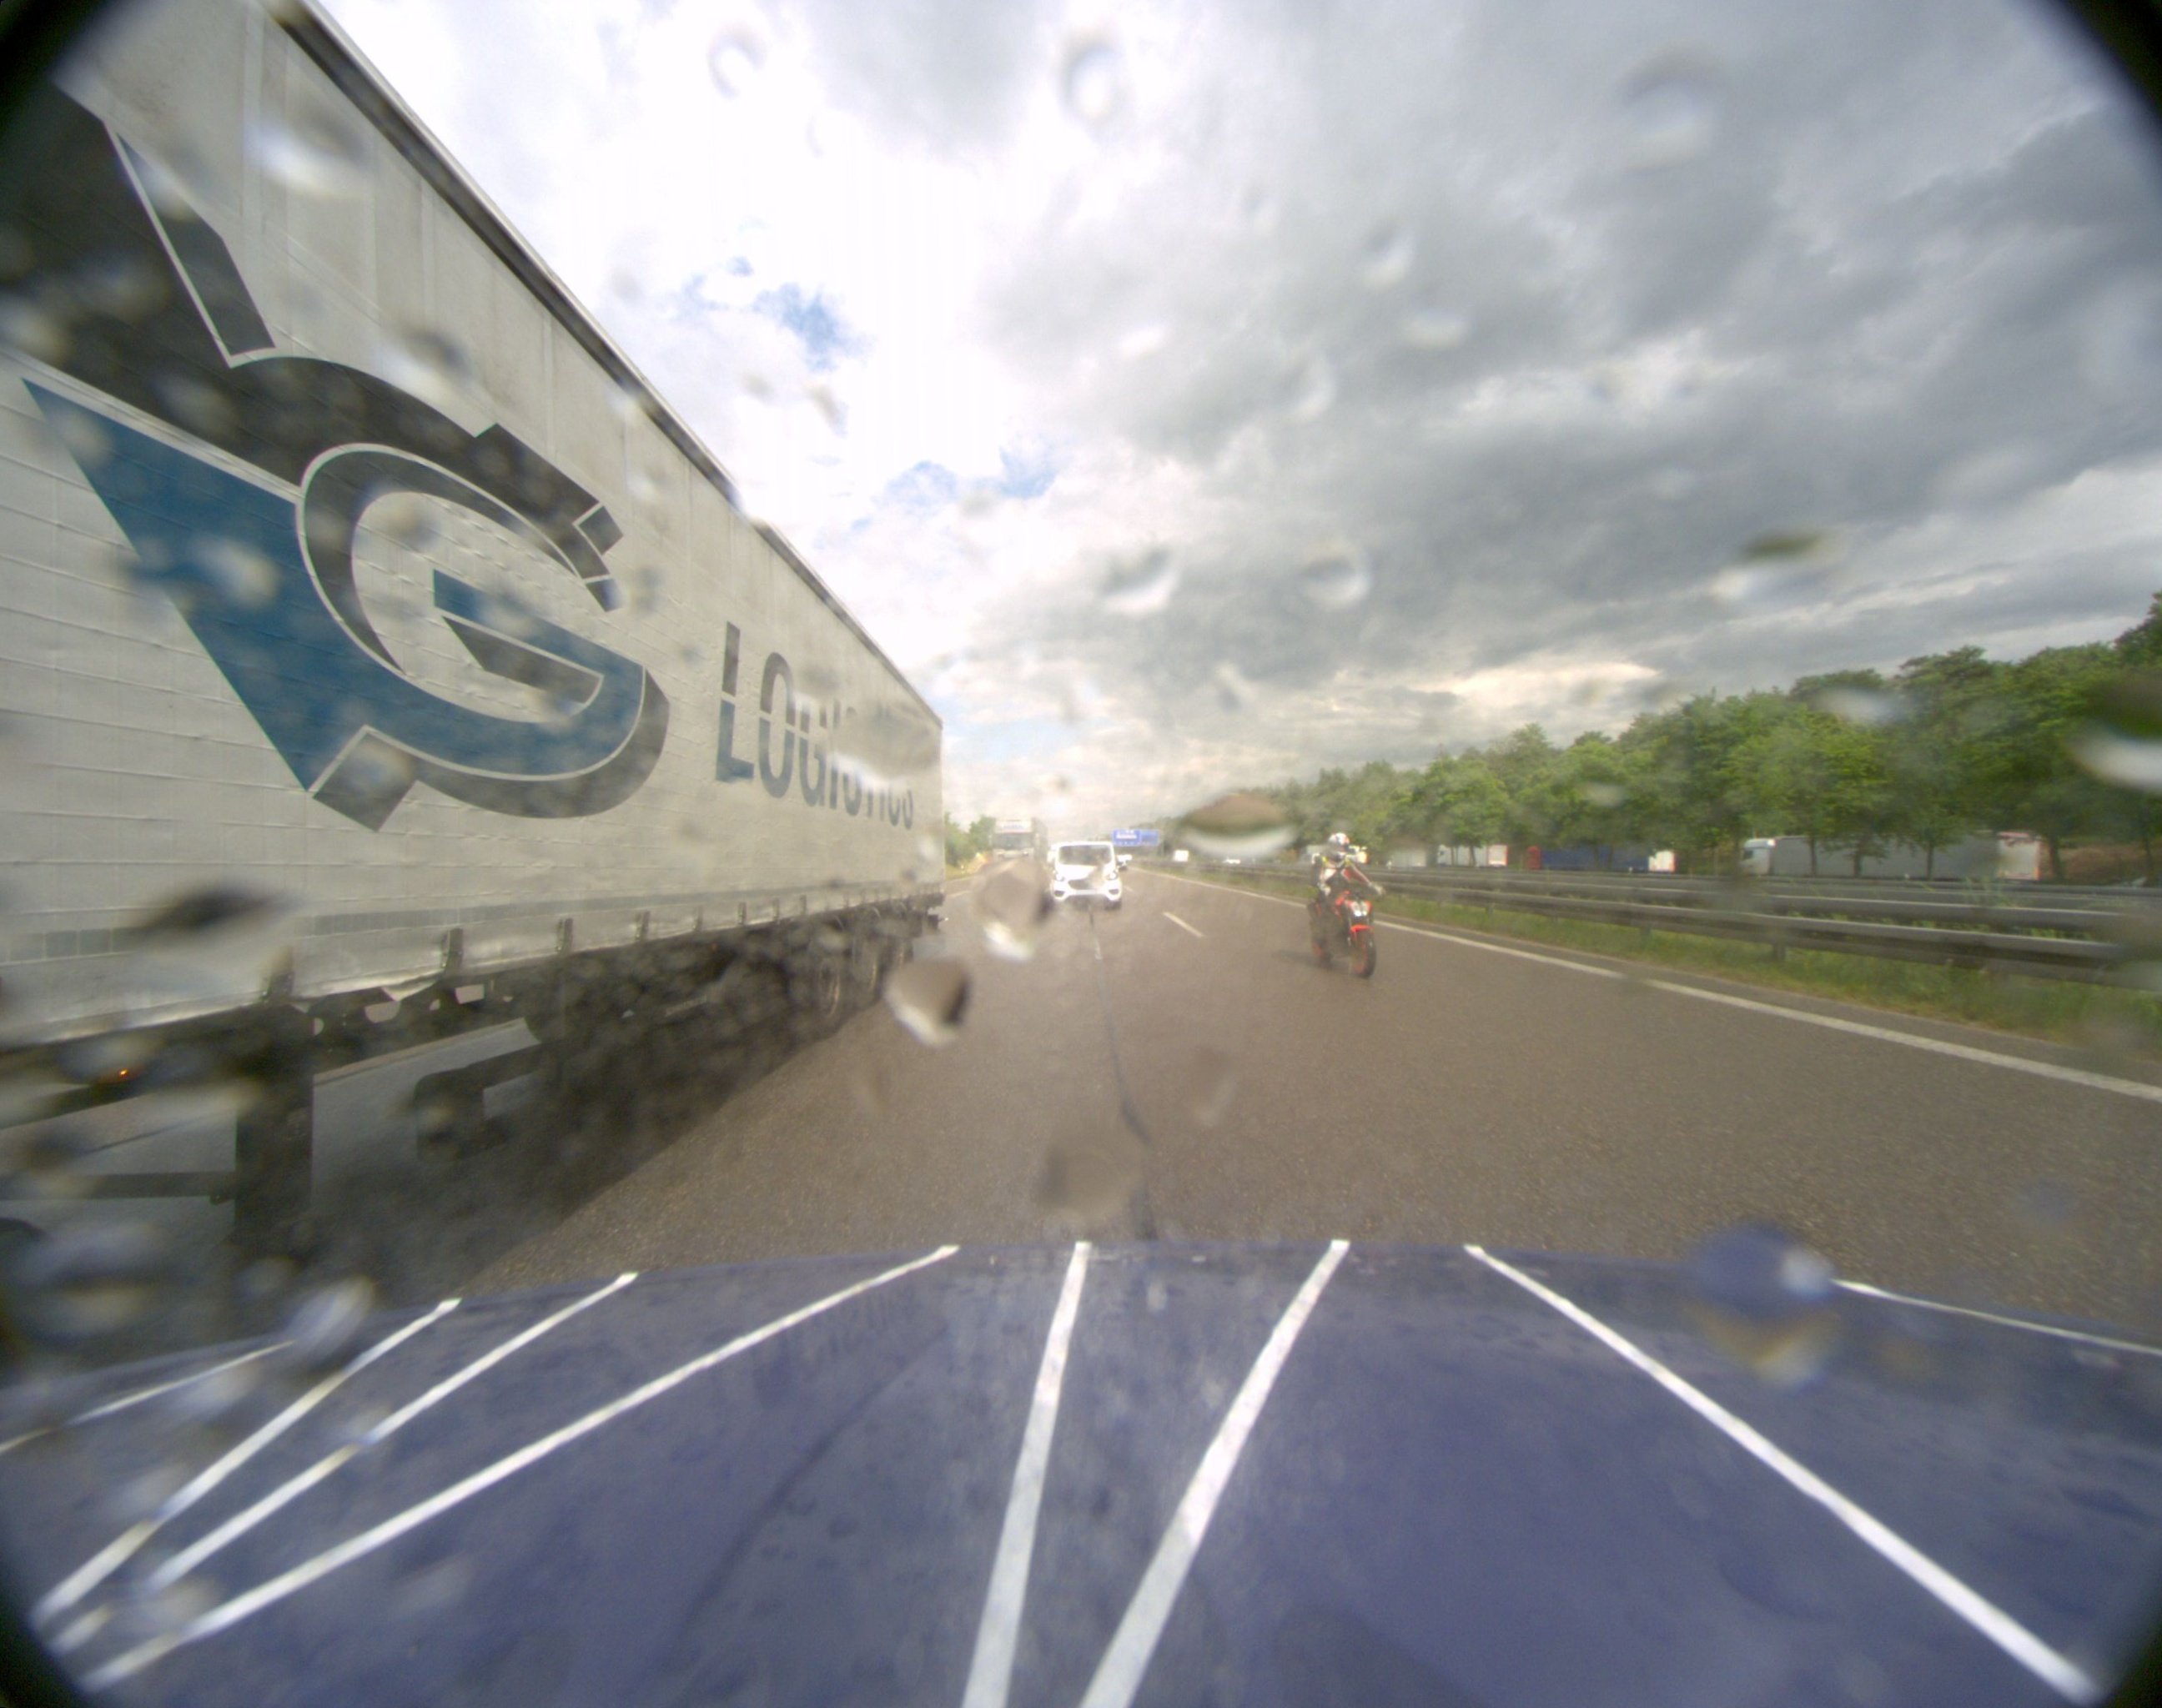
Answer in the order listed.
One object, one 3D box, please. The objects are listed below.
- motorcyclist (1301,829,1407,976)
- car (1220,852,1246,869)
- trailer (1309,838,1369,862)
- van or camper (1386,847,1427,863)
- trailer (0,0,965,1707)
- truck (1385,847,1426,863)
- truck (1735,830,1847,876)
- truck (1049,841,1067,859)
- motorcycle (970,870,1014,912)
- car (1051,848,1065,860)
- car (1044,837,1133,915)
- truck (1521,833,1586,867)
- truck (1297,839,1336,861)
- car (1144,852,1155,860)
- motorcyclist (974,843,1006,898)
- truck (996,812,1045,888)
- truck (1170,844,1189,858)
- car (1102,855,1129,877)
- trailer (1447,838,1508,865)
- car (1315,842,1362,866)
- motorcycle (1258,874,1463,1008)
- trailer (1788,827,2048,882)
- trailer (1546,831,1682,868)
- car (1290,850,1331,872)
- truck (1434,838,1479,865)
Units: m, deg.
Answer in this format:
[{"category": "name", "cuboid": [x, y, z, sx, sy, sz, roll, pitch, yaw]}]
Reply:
[{"category": "motorcyclist", "cuboid": [3.351, 0.563, 9.414, 0.883, 1.696, 1.000, -2, 1, -3]}, {"category": "car", "cuboid": [18.122, 0.776, 90.802, 2.052, 1.880, 5.258, -2, 1, 0]}, {"category": "trailer", "cuboid": [42.622, -0.696, 126.246, 3.216, 3.717, 12.553, -1, 0, -14]}, {"category": "van or camper", "cuboid": [47.032, 0.102, 110.075, 2.126, 2.252, 6.316, -2, 1, -13]}, {"category": "trailer", "cuboid": [-3.579, -0.196, 5.547, 3.292, 3.876, 14.126, -2, 0, -1]}, {"category": "truck", "cuboid": [47.013, 0.102, 110.153, 2.126, 2.252, 6.311, -2, 1, -13]}, {"category": "truck", "cuboid": [54.847, -0.095, 58.888, 3.362, 3.254, 5.505, -2, 1, -4]}, {"category": "truck", "cuboid": [-4.772, -0.864, 159.655, 3.218, 3.607, 10.152, -2, 1, 0]}, {"category": "motorcycle", "cuboid": [-2.837, 1.159, 24.602, 1.188, 1.142, 3.193, -2, 1, -3]}, {"category": "car", "cuboid": [-4.108, 0.035, 138.647, 2.350, 2.033, 5.142, -2, 1, 0]}, {"category": "car", "cuboid": [0.186, 0.571, 23.229, 2.350, 2.033, 5.142, -2, 1, 0]}, {"category": "truck", "cuboid": [51.708, -0.430, 83.324, 2.869, 3.436, 5.892, -2, 1, -7]}, {"category": "truck", "cuboid": [40.979, -0.726, 132.619, 3.219, 3.683, 6.907, -2, 1, -14]}, {"category": "car", "cuboid": [18.487, 0.555, 205.796, 2.306, 1.880, 4.778, -2, 1, 0]}, {"category": "motorcyclist", "cuboid": [-2.906, 0.514, 24.426, 0.883, 1.696, 1.000, -2, 1, -3]}, {"category": "truck", "cuboid": [-3.631, -0.265, 46.834, 2.650, 4.250, 6.882, -2, 1, -3]}, {"category": "truck", "cuboid": [20.104, -0.609, 155.344, 2.849, 2.666, 7.190, -2, 1, 1]}, {"category": "car", "cuboid": [3.456, 1.167, 76.954, 2.350, 2.033, 5.142, -2, 1, 0]}, {"category": "trailer", "cuboid": [49.680, -0.342, 95.484, 2.588, 3.214, 7.734, -1, 0, -10]}, {"category": "car", "cuboid": [21.095, -0.019, 62.542, 2.052, 1.880, 5.258, -2, 1, 0]}, {"category": "motorcycle", "cuboid": [3.270, 0.938, 9.441, 1.188, 1.219, 3.193, -2, 1, -3]}, {"category": "trailer", "cuboid": [55.179, -0.012, 51.039, 3.356, 3.198, 12.471, -1, 0, -2]}, {"category": "trailer", "cuboid": [52.619, -0.423, 75.860, 2.832, 3.385, 13.417, -1, 0, -7]}, {"category": "car", "cuboid": [20.751, 0.595, 68.824, 2.052, 1.880, 5.258, -2, 1, 0]}, {"category": "truck", "cuboid": [48.935, -0.345, 99.219, 2.663, 3.249, 5.081, -2, 1, -11]}]
